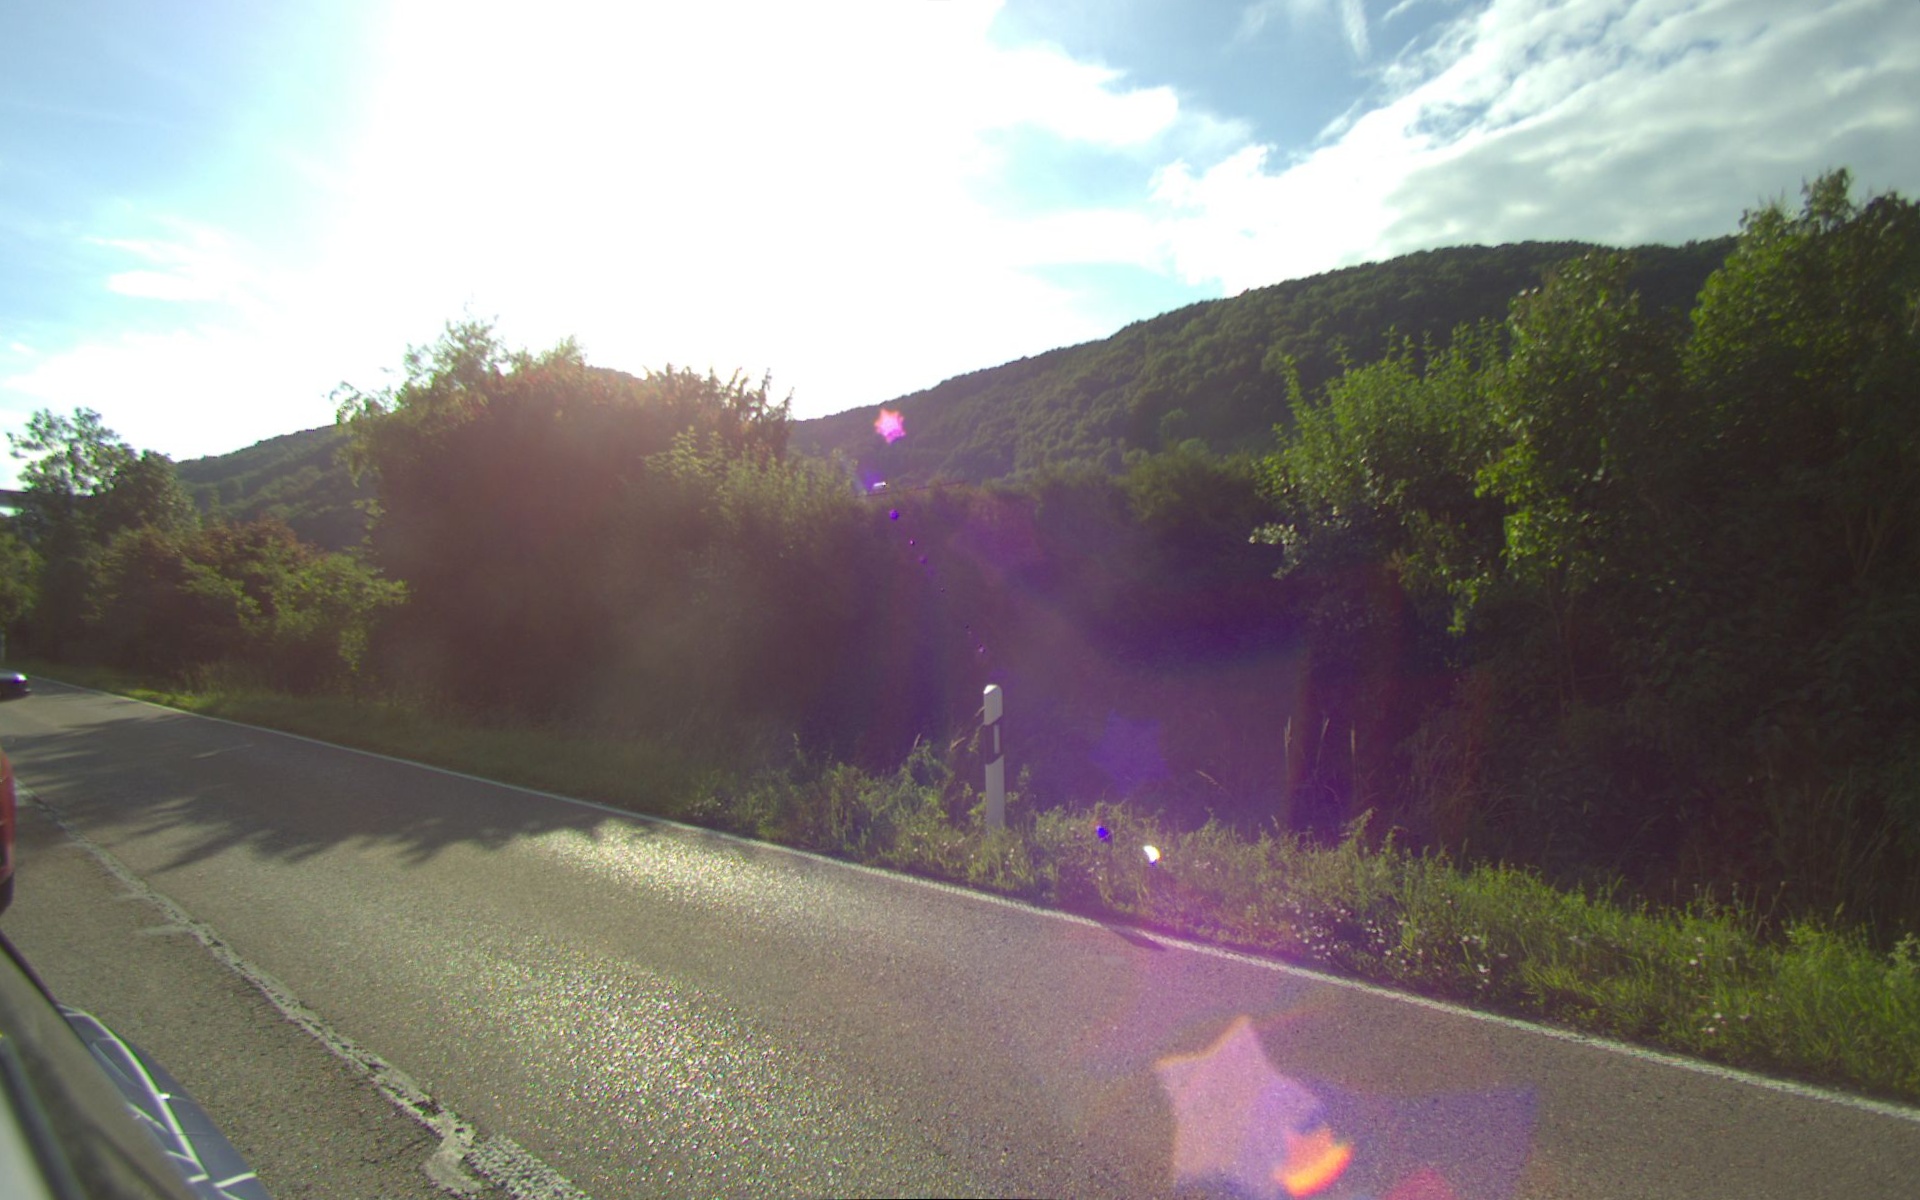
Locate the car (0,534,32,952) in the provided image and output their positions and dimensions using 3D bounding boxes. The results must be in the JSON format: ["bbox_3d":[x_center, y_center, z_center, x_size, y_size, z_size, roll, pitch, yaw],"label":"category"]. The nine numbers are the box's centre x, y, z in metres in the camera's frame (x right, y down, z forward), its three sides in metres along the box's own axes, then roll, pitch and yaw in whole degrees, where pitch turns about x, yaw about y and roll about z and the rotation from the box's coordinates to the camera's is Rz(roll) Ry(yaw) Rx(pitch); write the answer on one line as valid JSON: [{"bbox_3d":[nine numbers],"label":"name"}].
[{"bbox_3d":[-6.316,0.677,5.246,4.286,1.823,1.731,-1,1,41],"label":"car"}]
